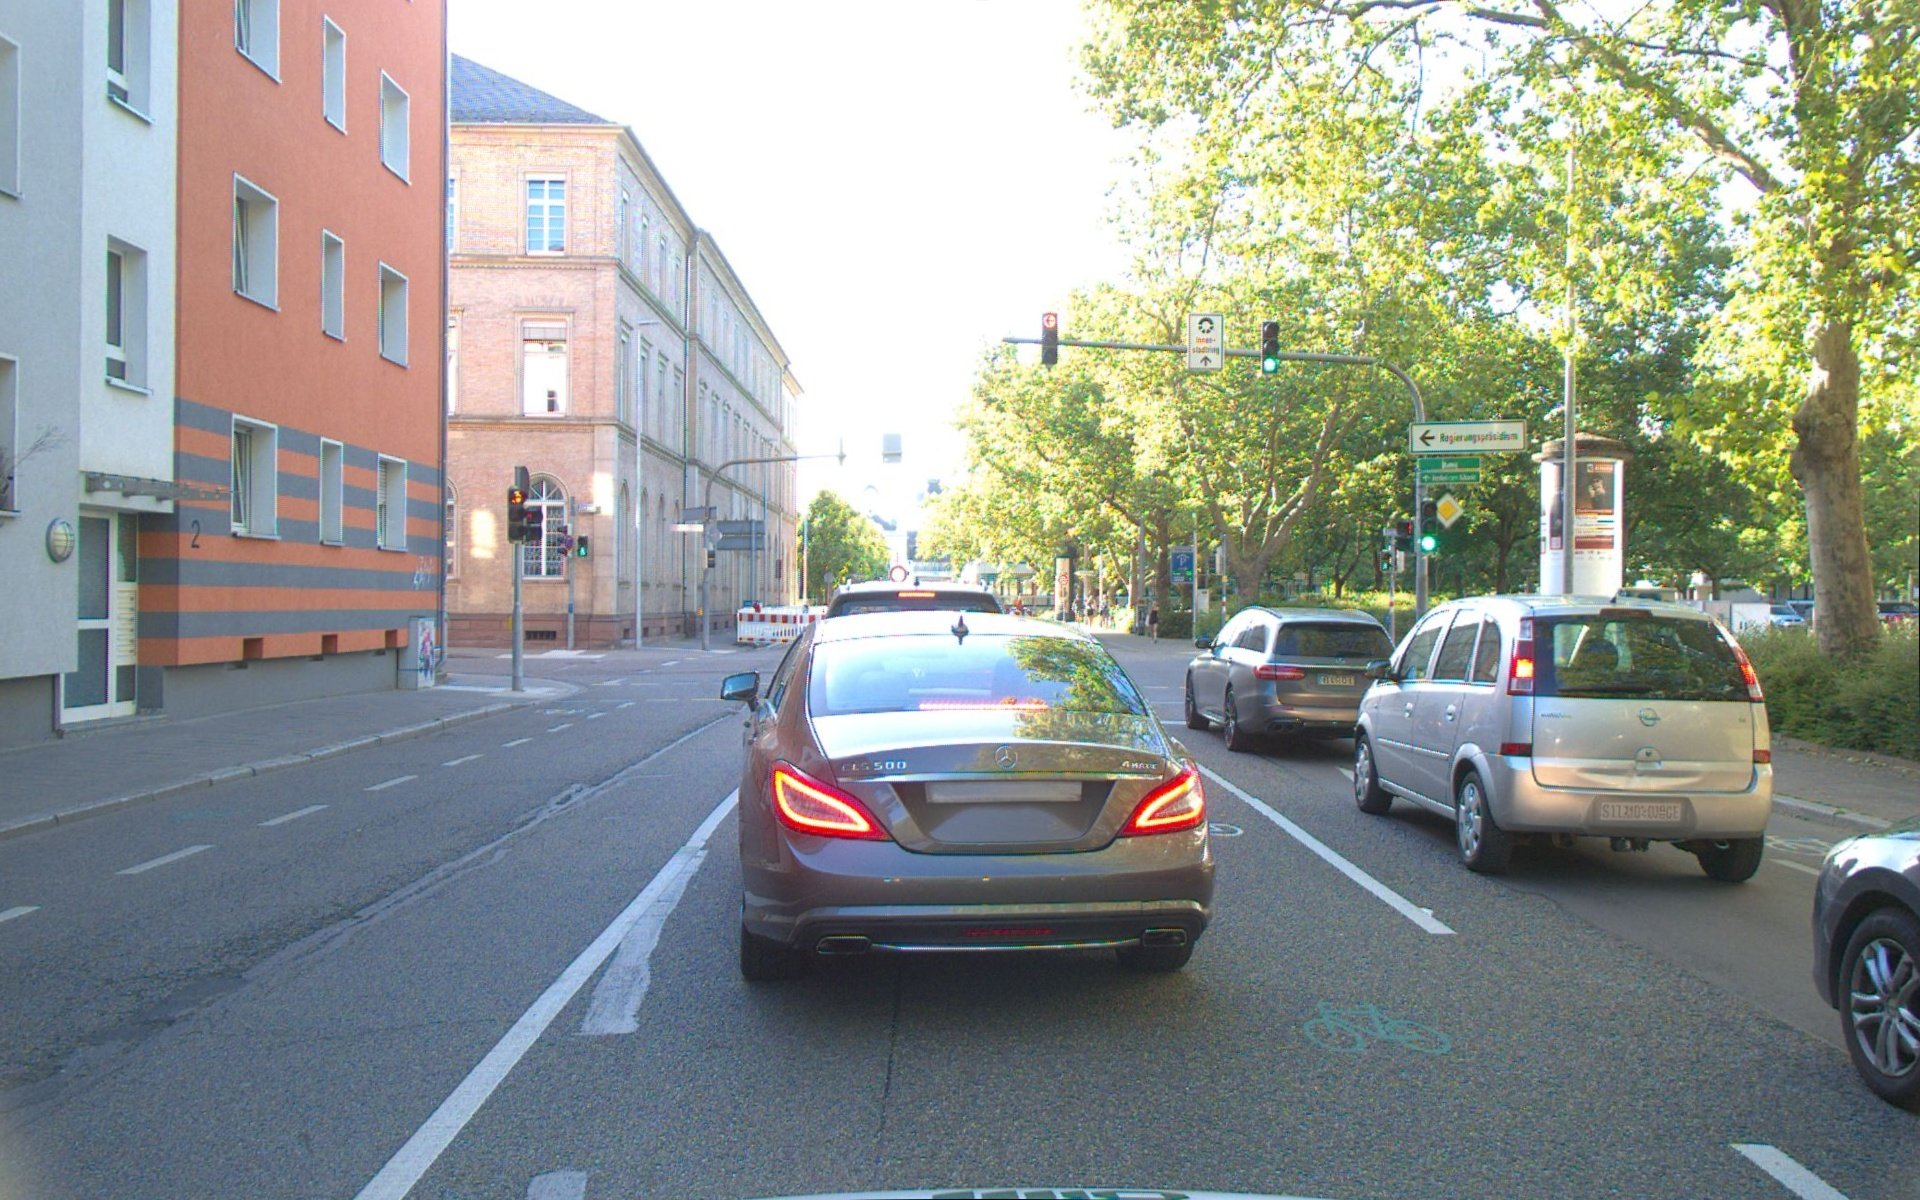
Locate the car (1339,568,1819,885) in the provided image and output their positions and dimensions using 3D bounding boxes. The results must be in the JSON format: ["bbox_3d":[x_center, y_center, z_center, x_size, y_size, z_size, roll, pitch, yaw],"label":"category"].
[{"bbox_3d":[3.776,0.692,10.788,1.696,1.691,3.680,1,0,-1],"label":"car"}]

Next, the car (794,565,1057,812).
[{"bbox_3d":[-0.269,0.618,13.603,1.823,1.712,3.999,1,0,-1],"label":"car"}]

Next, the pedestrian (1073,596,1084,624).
[{"bbox_3d":[6.602,0.555,92.239,0.545,1.535,0.345,1,-1,-5],"label":"pedestrian"}]

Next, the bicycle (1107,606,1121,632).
[{"bbox_3d":[7.355,0.901,78.912,0.472,1.223,1.606,1,0,-1],"label":"bicycle"}]

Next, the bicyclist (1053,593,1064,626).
[{"bbox_3d":[6.277,0.603,105.026,0.583,2.075,0.565,1,-1,-5],"label":"bicyclist"}]

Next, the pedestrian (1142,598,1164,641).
[{"bbox_3d":[7.153,0.703,61.371,0.623,1.572,0.909,1,0,-5],"label":"pedestrian"}]

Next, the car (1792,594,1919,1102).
[{"bbox_3d":[3.779,0.767,3.801,1.670,1.545,3.999,1,0,-1],"label":"car"}]

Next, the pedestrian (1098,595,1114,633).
[{"bbox_3d":[7.003,0.664,79.421,0.623,1.791,0.698,1,-1,-5],"label":"pedestrian"}]

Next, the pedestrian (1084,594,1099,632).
[{"bbox_3d":[6.317,0.630,79.468,0.623,1.828,0.698,1,-1,-5],"label":"pedestrian"}]

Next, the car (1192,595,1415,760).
[{"bbox_3d":[3.583,0.757,17.838,1.568,1.576,3.680,1,0,-1],"label":"car"}]

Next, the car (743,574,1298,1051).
[{"bbox_3d":[-0.033,0.688,7.476,1.826,1.545,3.993,1,0,-8],"label":"car"}]
